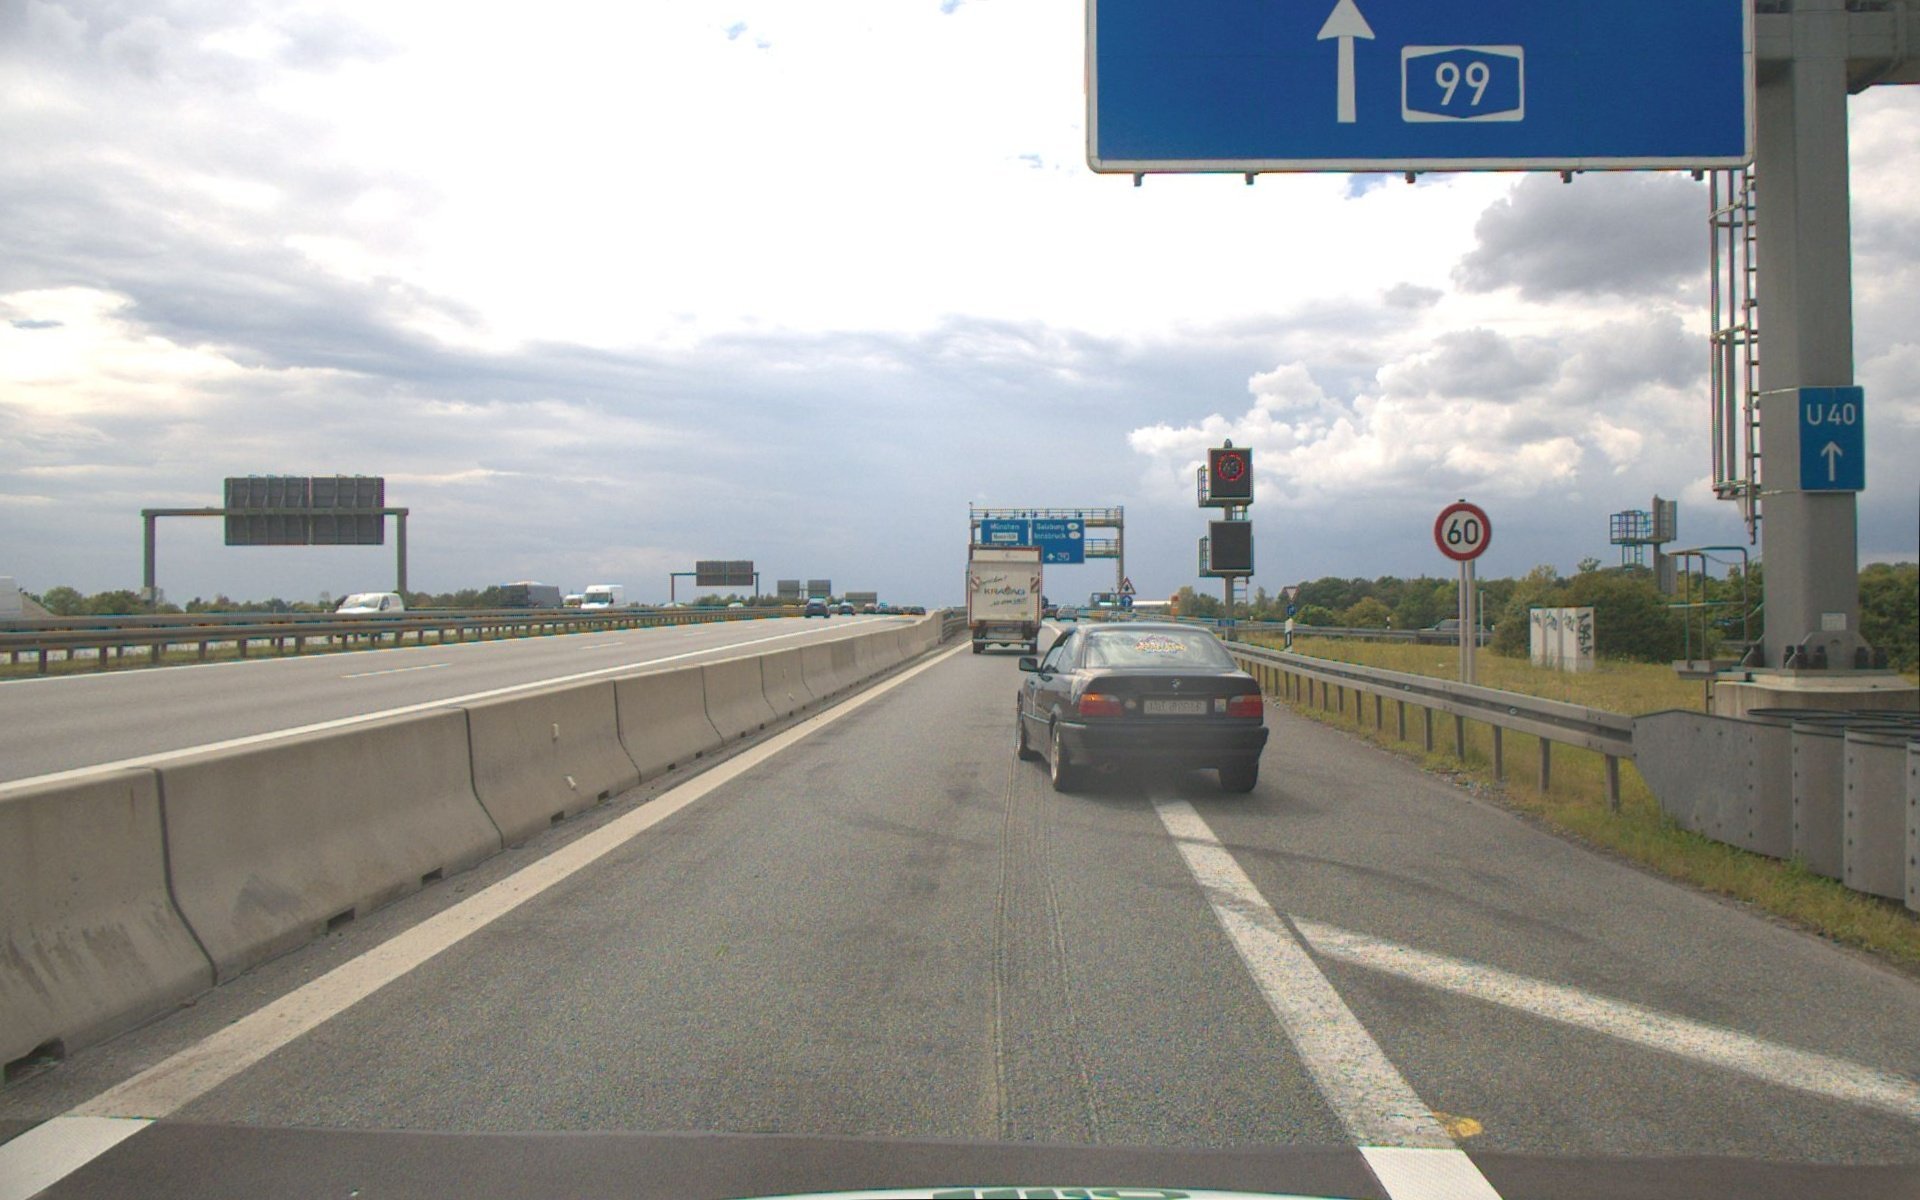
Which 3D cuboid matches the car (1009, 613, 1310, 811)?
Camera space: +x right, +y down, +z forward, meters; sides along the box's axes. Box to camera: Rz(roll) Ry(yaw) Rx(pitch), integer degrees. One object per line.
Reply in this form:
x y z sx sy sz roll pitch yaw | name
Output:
1.552 0.849 14.340 1.747 1.402 4.132 2 0 -5 | car

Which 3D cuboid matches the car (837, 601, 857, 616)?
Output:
-12.747 0.937 186.971 1.953 1.568 3.999 1 0 -1 | car

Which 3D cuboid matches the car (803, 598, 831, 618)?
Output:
-12.159 0.659 140.790 1.953 1.691 4.383 1 0 -1 | car

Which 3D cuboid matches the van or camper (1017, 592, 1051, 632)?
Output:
4.586 0.749 103.490 1.958 2.412 6.127 1 0 1 | van or camper

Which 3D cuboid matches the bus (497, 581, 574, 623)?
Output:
-37.384 0.173 146.232 3.147 3.503 12.994 1 0 1 | bus

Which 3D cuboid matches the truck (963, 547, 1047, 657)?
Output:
1.374 0.065 50.834 2.354 3.144 6.371 1 0 1 | truck

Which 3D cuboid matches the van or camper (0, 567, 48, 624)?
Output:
-38.270 -0.182 64.558 2.142 2.210 5.808 1 0 -1 | van or camper

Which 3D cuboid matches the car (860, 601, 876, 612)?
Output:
-12.555 0.918 226.219 1.953 1.422 3.999 1 0 -1 | car

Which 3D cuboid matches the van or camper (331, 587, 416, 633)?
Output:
-24.636 0.417 69.640 1.952 1.861 4.348 1 0 1 | van or camper

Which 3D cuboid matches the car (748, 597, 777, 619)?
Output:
-15.907 0.653 133.191 1.632 1.736 4.001 1 0 3 | car

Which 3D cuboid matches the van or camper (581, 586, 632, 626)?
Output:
-24.527 0.387 115.002 2.142 2.665 6.904 1 0 -1 | van or camper
